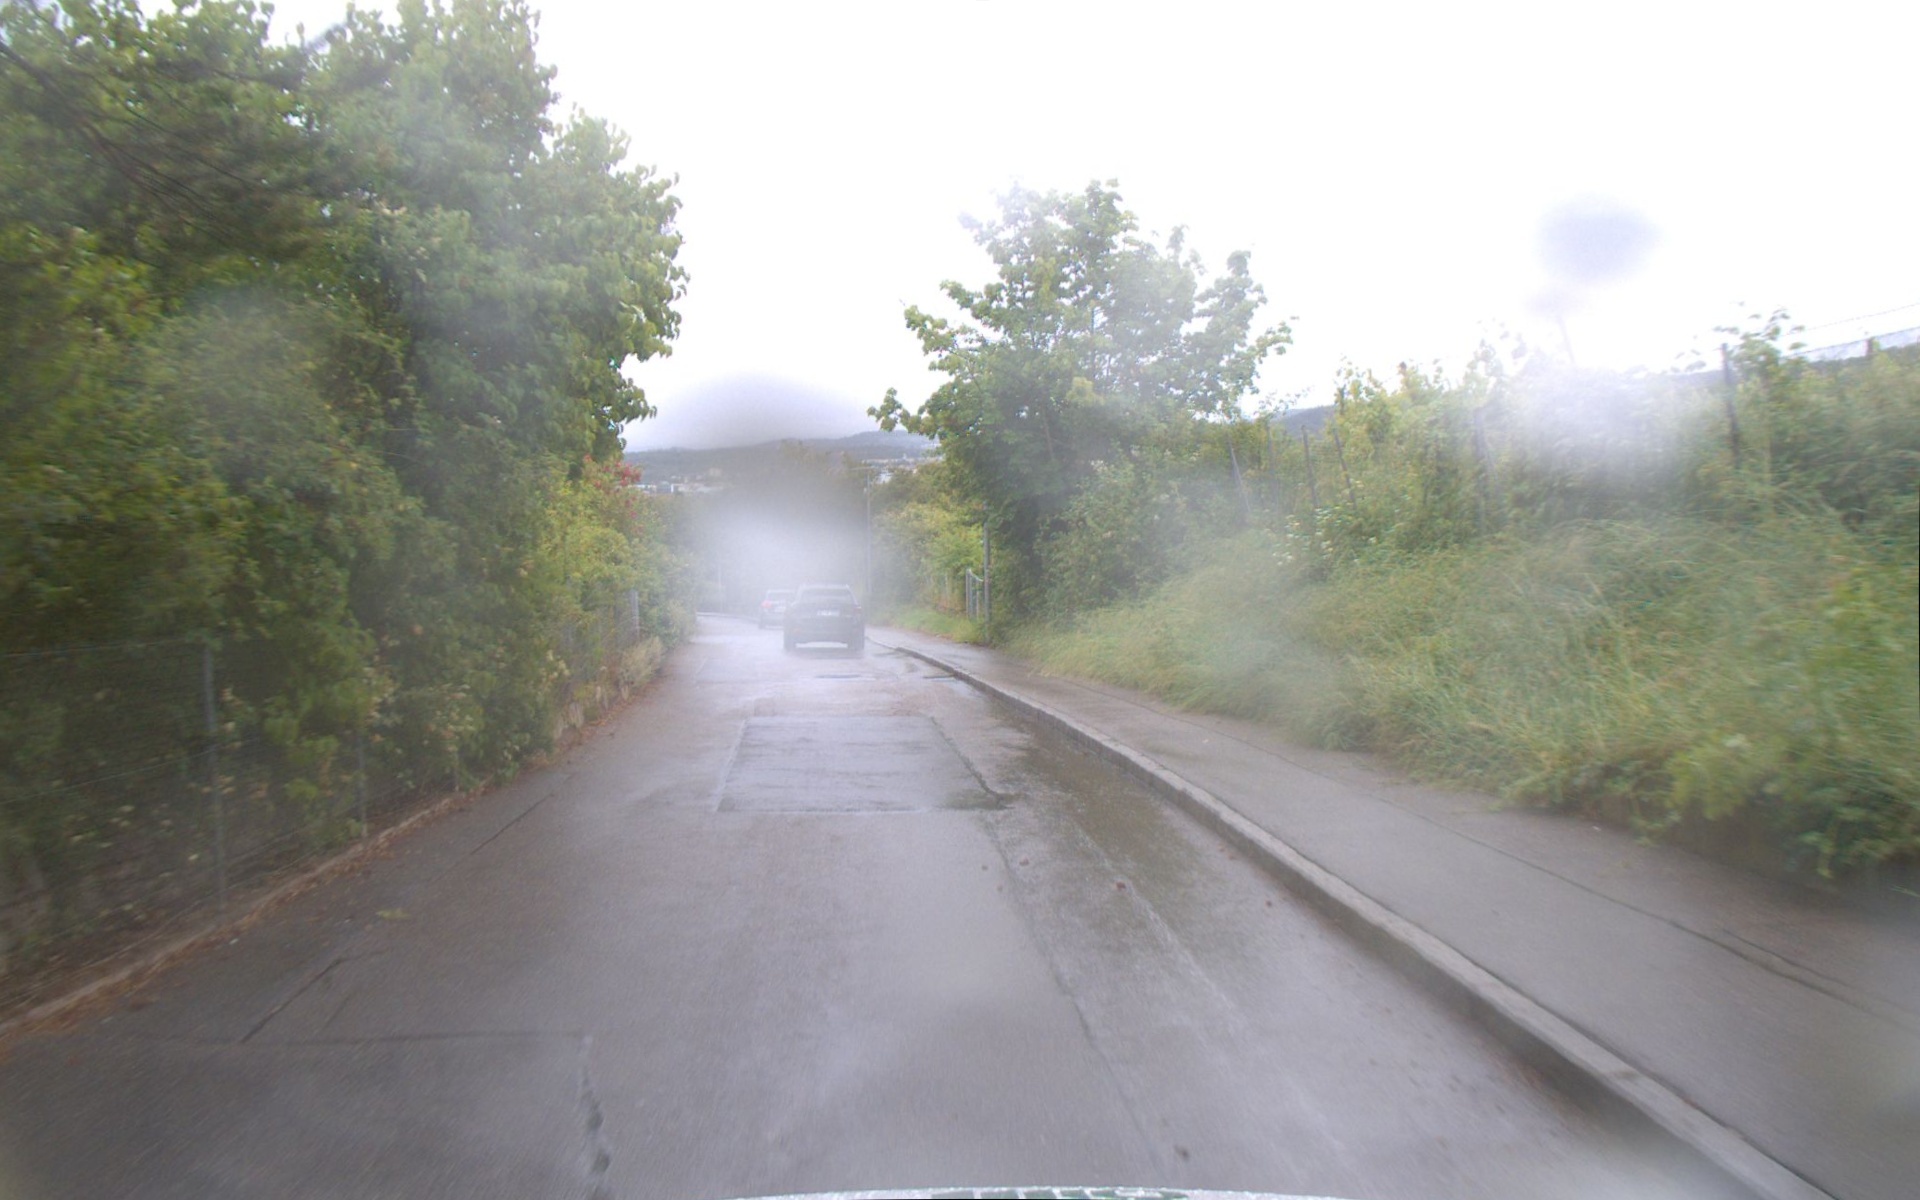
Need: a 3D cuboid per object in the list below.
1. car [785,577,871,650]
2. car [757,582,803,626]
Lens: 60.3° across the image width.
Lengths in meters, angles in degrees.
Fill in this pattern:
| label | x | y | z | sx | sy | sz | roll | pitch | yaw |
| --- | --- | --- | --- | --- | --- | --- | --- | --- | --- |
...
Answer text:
| label | x | y | z | sx | sy | sz | roll | pitch | yaw |
| --- | --- | --- | --- | --- | --- | --- | --- | --- | --- |
| car | -3.011 | 0.261 | 37.295 | 1.799 | 1.489 | 3.995 | -2 | 1 | -6 |
| car | -7.101 | 0.135 | 65.046 | 1.647 | 1.592 | 3.787 | 0 | 2 | -8 |
